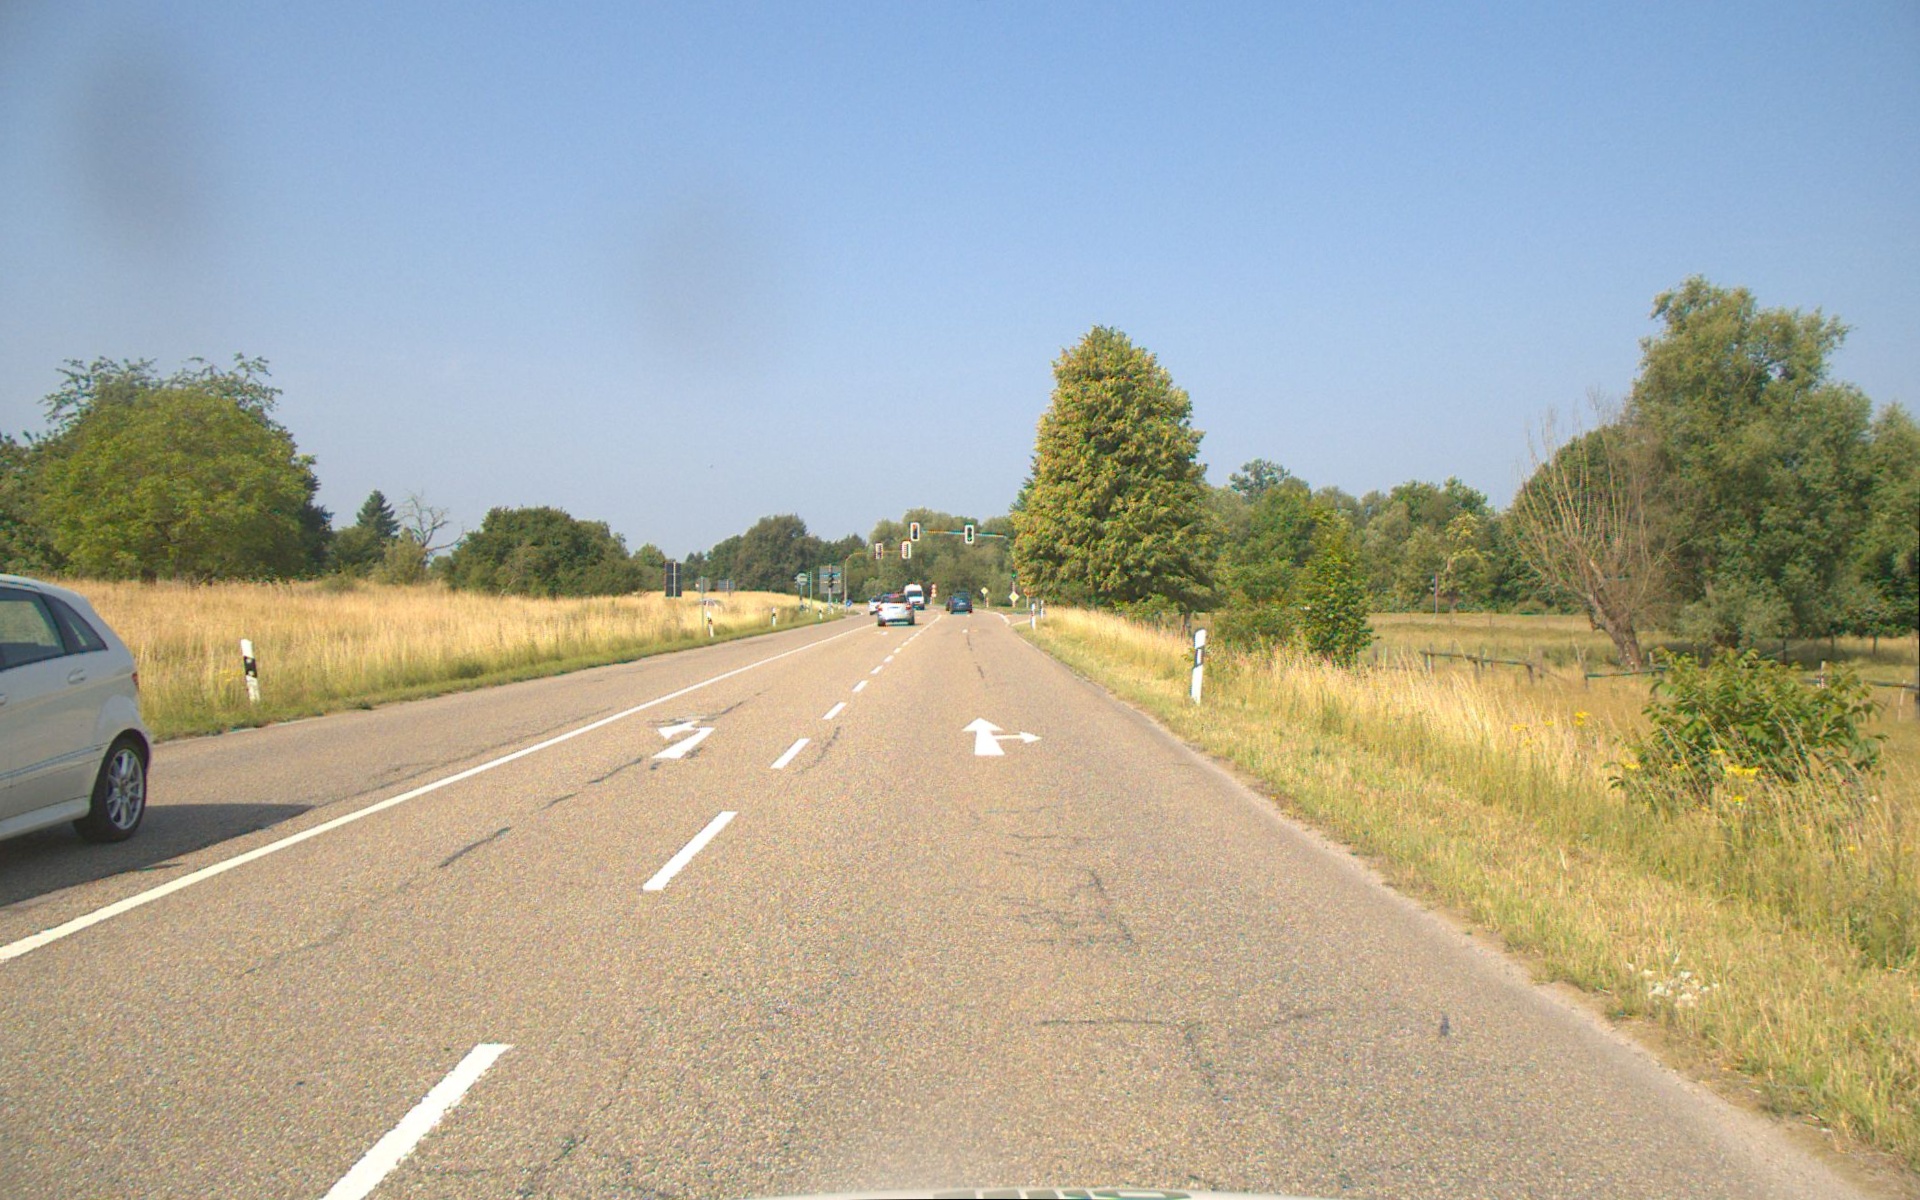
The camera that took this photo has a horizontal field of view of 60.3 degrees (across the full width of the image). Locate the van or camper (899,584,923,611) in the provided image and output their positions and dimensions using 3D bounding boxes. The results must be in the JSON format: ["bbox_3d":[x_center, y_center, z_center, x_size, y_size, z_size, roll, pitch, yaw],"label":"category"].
[{"bbox_3d":[-5.250,-0.275,178.176,2.218,2.757,5.263,2,0,1],"label":"van or camper"}]

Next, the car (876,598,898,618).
[{"bbox_3d":[-6.531,0.722,148.839,1.559,1.758,4.001,2,0,2],"label":"car"}]

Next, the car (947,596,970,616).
[{"bbox_3d":[-0.116,0.498,135.131,1.779,1.547,4.000,2,0,0],"label":"car"}]

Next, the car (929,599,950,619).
[{"bbox_3d":[-1.932,0.835,160.426,1.953,1.847,4.000,2,0,0],"label":"car"}]

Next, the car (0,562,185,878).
[{"bbox_3d":[-5.794,0.621,8.513,1.776,1.613,4.222,-1,0,-3],"label":"car"}]

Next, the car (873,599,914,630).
[{"bbox_3d":[-3.437,0.745,86.180,1.860,1.538,4.000,2,0,1],"label":"car"}]
